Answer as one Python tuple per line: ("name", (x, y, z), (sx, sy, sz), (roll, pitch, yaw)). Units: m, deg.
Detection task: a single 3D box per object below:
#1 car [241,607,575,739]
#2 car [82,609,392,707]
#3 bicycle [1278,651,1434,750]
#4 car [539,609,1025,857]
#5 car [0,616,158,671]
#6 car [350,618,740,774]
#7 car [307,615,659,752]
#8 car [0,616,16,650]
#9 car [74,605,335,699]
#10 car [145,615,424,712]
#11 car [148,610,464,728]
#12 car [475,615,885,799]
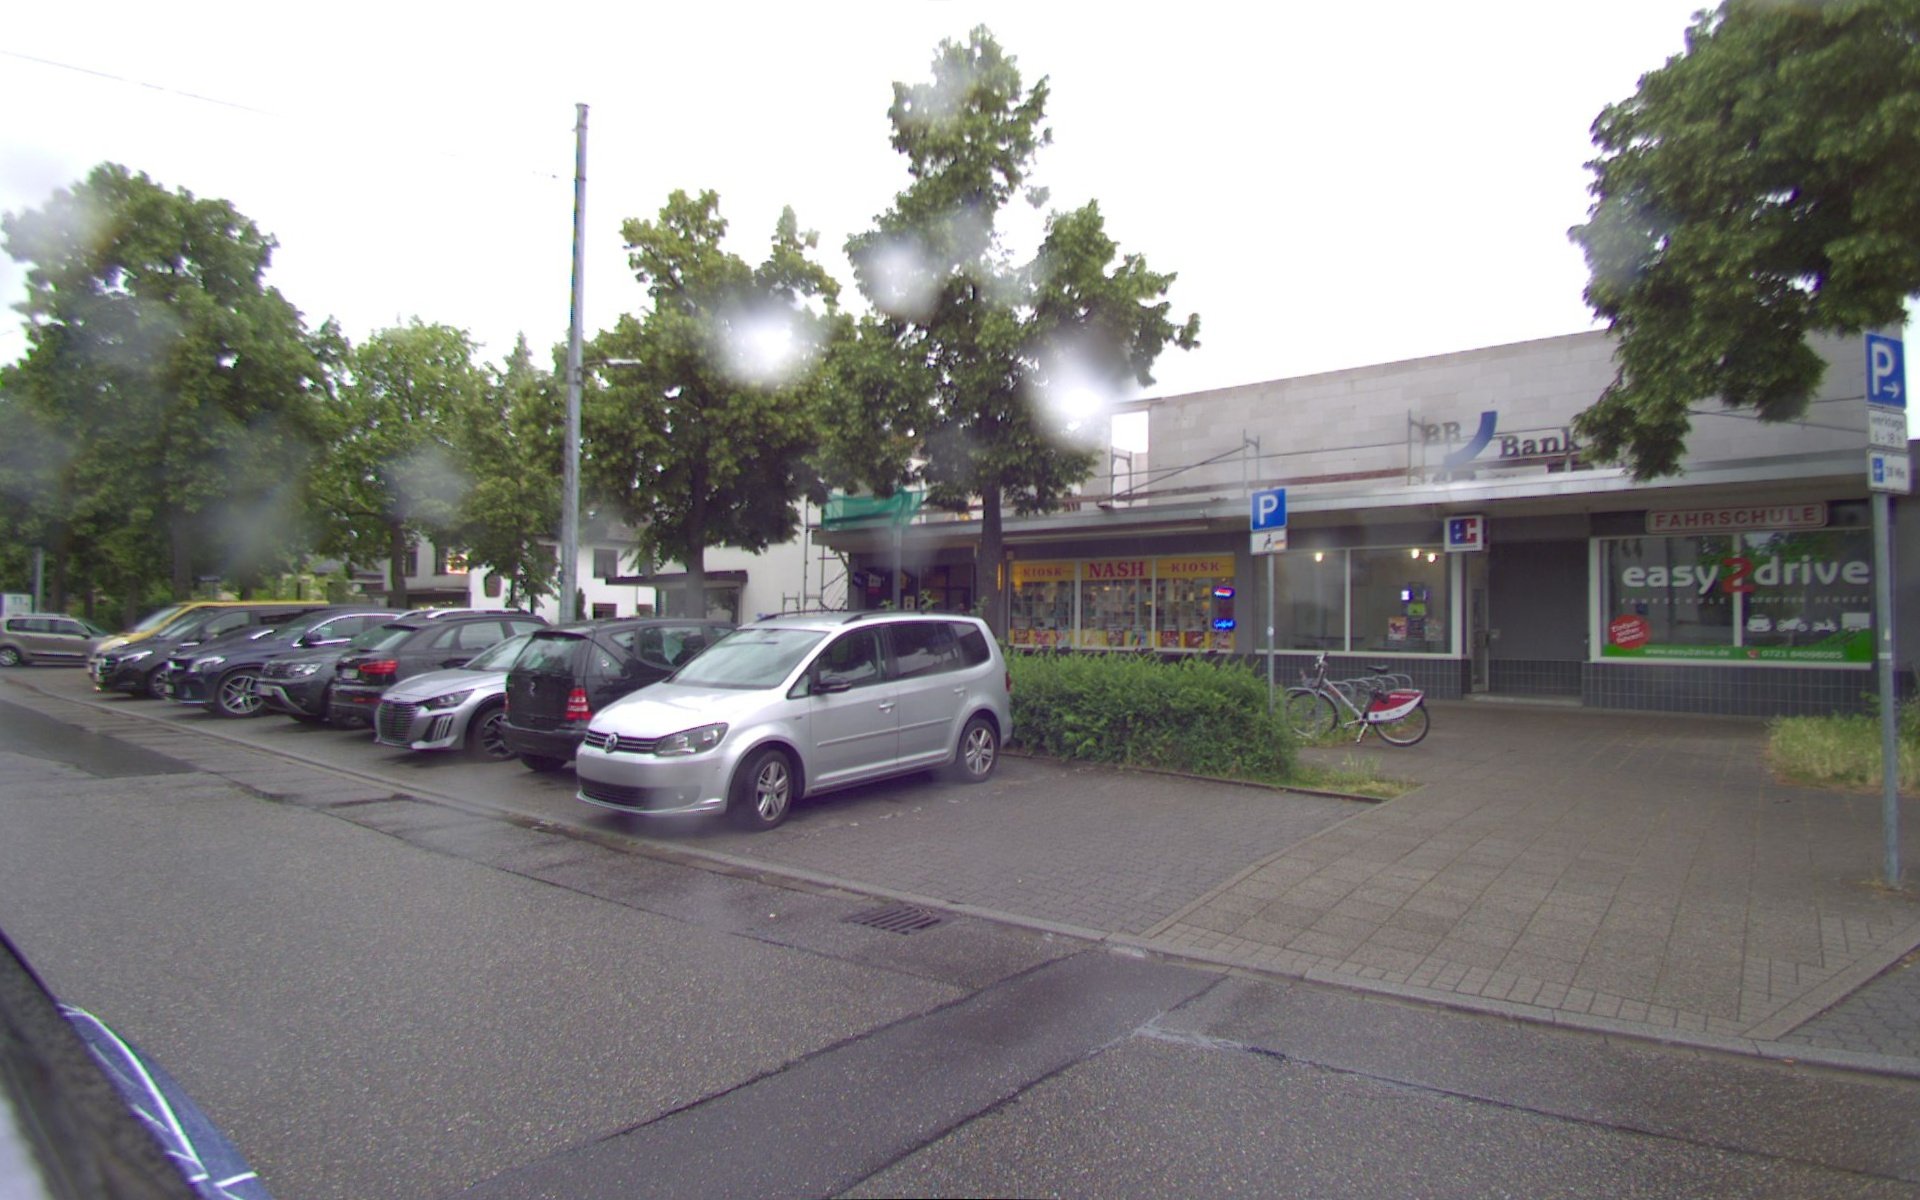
("car", (-8.342, 0.989, 15.645), (1.713, 1.740, 4.231), (-1, -1, 38))
("car", (-15.150, 1.114, 21.520), (1.713, 1.813, 5.114), (-1, -1, 38))
("bicycle", (4.806, 1.199, 12.343), (1.739, 1.115, 0.316), (-1, 0, 25))
("car", (-1.311, 0.913, 9.008), (1.713, 1.647, 4.231), (-1, -1, 38))
("car", (-28.826, 1.386, 32.959), (3.931, 1.700, 1.847), (1, -1, -27))
("car", (-4.954, 1.029, 12.609), (1.713, 1.544, 4.231), (-1, -1, 38))
("car", (-6.569, 1.034, 14.354), (1.713, 1.607, 4.231), (-1, -1, 38))
("car", (-49.709, 1.695, 50.210), (1.997, 1.698, 3.950), (-1, 0, 37))
("car", (-17.435, 1.102, 23.571), (1.713, 1.973, 4.600), (-1, -1, 38))
("car", (-13.015, 1.136, 19.739), (1.713, 1.639, 4.231), (-1, -1, 38))
("car", (-10.989, 1.048, 17.282), (1.713, 1.740, 4.231), (-1, -1, 38))
("car", (-2.848, 0.977, 11.150), (1.633, 1.577, 4.231), (-1, 0, 38))
